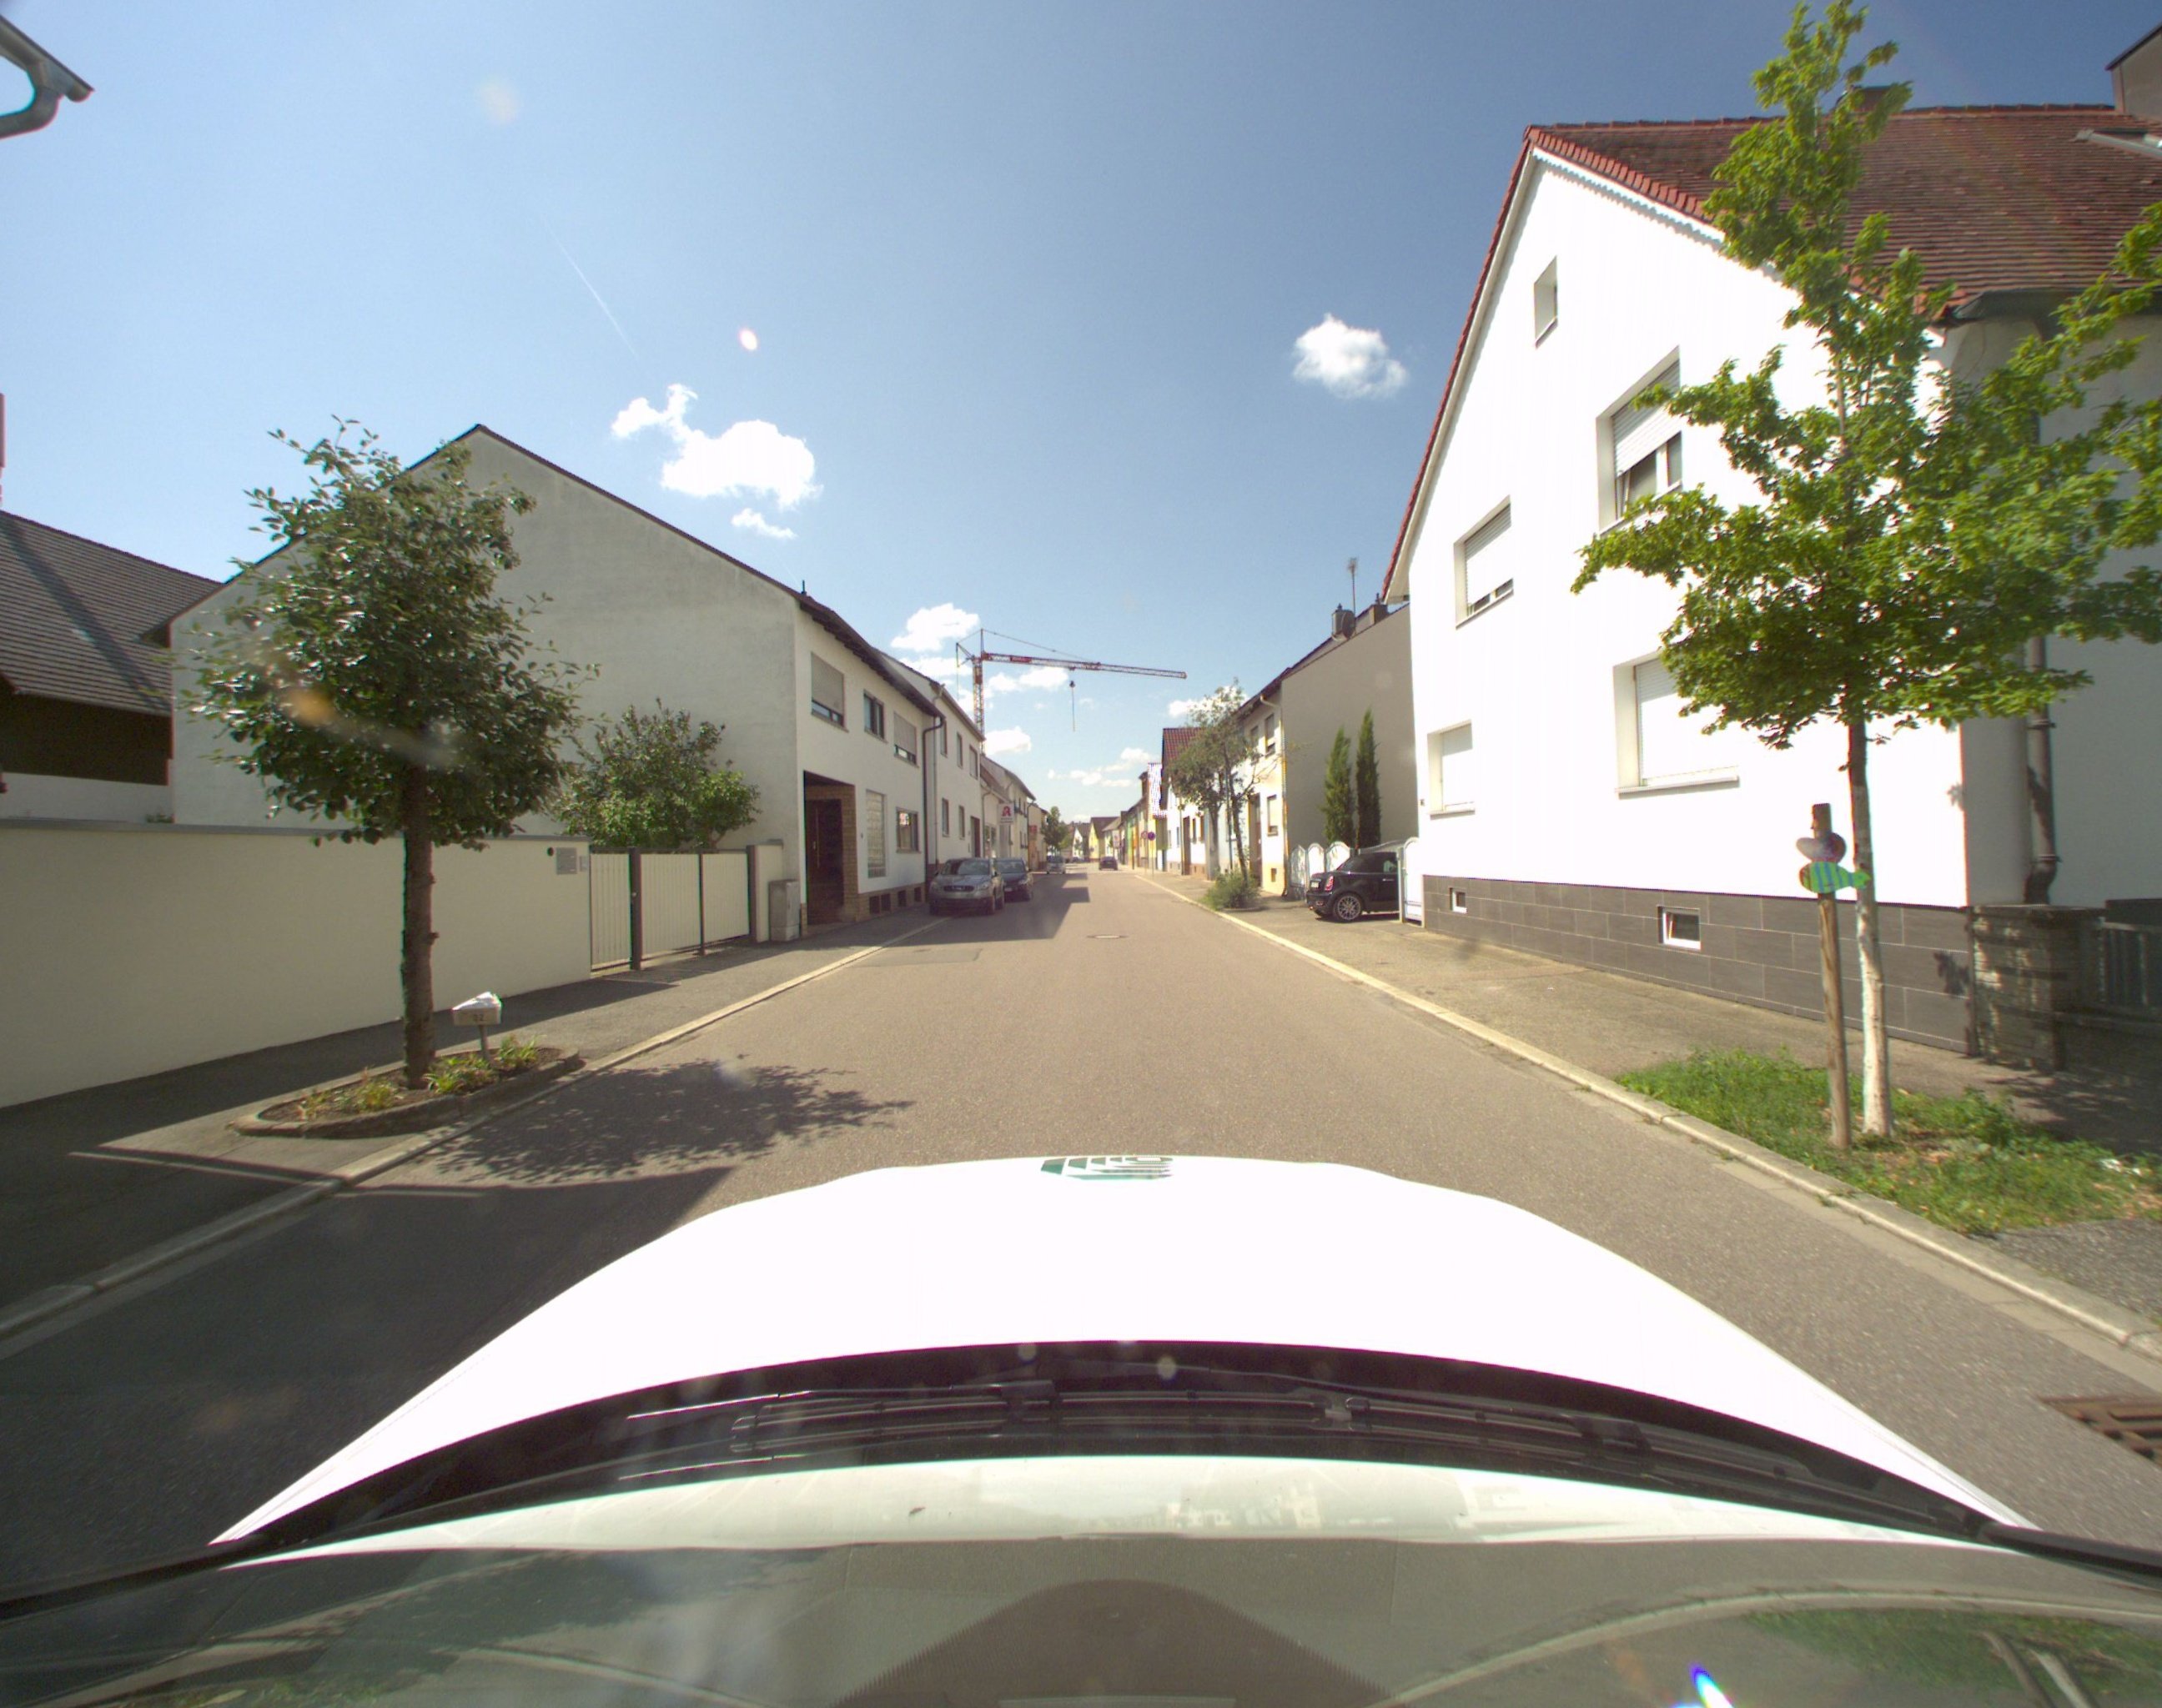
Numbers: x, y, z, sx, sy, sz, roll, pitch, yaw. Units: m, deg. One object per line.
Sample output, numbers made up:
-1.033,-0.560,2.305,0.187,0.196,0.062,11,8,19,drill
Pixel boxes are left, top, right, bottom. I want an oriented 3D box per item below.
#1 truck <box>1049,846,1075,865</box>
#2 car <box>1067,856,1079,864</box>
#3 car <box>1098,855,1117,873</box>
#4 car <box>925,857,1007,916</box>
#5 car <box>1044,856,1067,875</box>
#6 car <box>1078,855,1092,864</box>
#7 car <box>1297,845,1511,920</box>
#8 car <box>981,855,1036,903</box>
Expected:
-4.428,0.439,183.775,3.381,3.865,13.871,-2,-1,-11,truck
-1.892,1.470,186.301,1.824,1.753,4.206,-2,-1,-15,car
2.730,0.999,83.855,1.777,1.753,3.999,-2,-1,0,car
-3.266,0.875,23.919,1.753,1.525,4.288,-2,0,0,car
-2.163,0.933,69.884,1.717,1.555,4.173,0,0,1,car
0.870,1.154,176.731,1.787,1.753,4.205,-2,-1,-16,car
6.809,0.588,17.463,3.908,1.415,1.741,-2,0,1,car
-2.649,0.877,30.531,1.648,1.609,4.060,-2,0,0,car
